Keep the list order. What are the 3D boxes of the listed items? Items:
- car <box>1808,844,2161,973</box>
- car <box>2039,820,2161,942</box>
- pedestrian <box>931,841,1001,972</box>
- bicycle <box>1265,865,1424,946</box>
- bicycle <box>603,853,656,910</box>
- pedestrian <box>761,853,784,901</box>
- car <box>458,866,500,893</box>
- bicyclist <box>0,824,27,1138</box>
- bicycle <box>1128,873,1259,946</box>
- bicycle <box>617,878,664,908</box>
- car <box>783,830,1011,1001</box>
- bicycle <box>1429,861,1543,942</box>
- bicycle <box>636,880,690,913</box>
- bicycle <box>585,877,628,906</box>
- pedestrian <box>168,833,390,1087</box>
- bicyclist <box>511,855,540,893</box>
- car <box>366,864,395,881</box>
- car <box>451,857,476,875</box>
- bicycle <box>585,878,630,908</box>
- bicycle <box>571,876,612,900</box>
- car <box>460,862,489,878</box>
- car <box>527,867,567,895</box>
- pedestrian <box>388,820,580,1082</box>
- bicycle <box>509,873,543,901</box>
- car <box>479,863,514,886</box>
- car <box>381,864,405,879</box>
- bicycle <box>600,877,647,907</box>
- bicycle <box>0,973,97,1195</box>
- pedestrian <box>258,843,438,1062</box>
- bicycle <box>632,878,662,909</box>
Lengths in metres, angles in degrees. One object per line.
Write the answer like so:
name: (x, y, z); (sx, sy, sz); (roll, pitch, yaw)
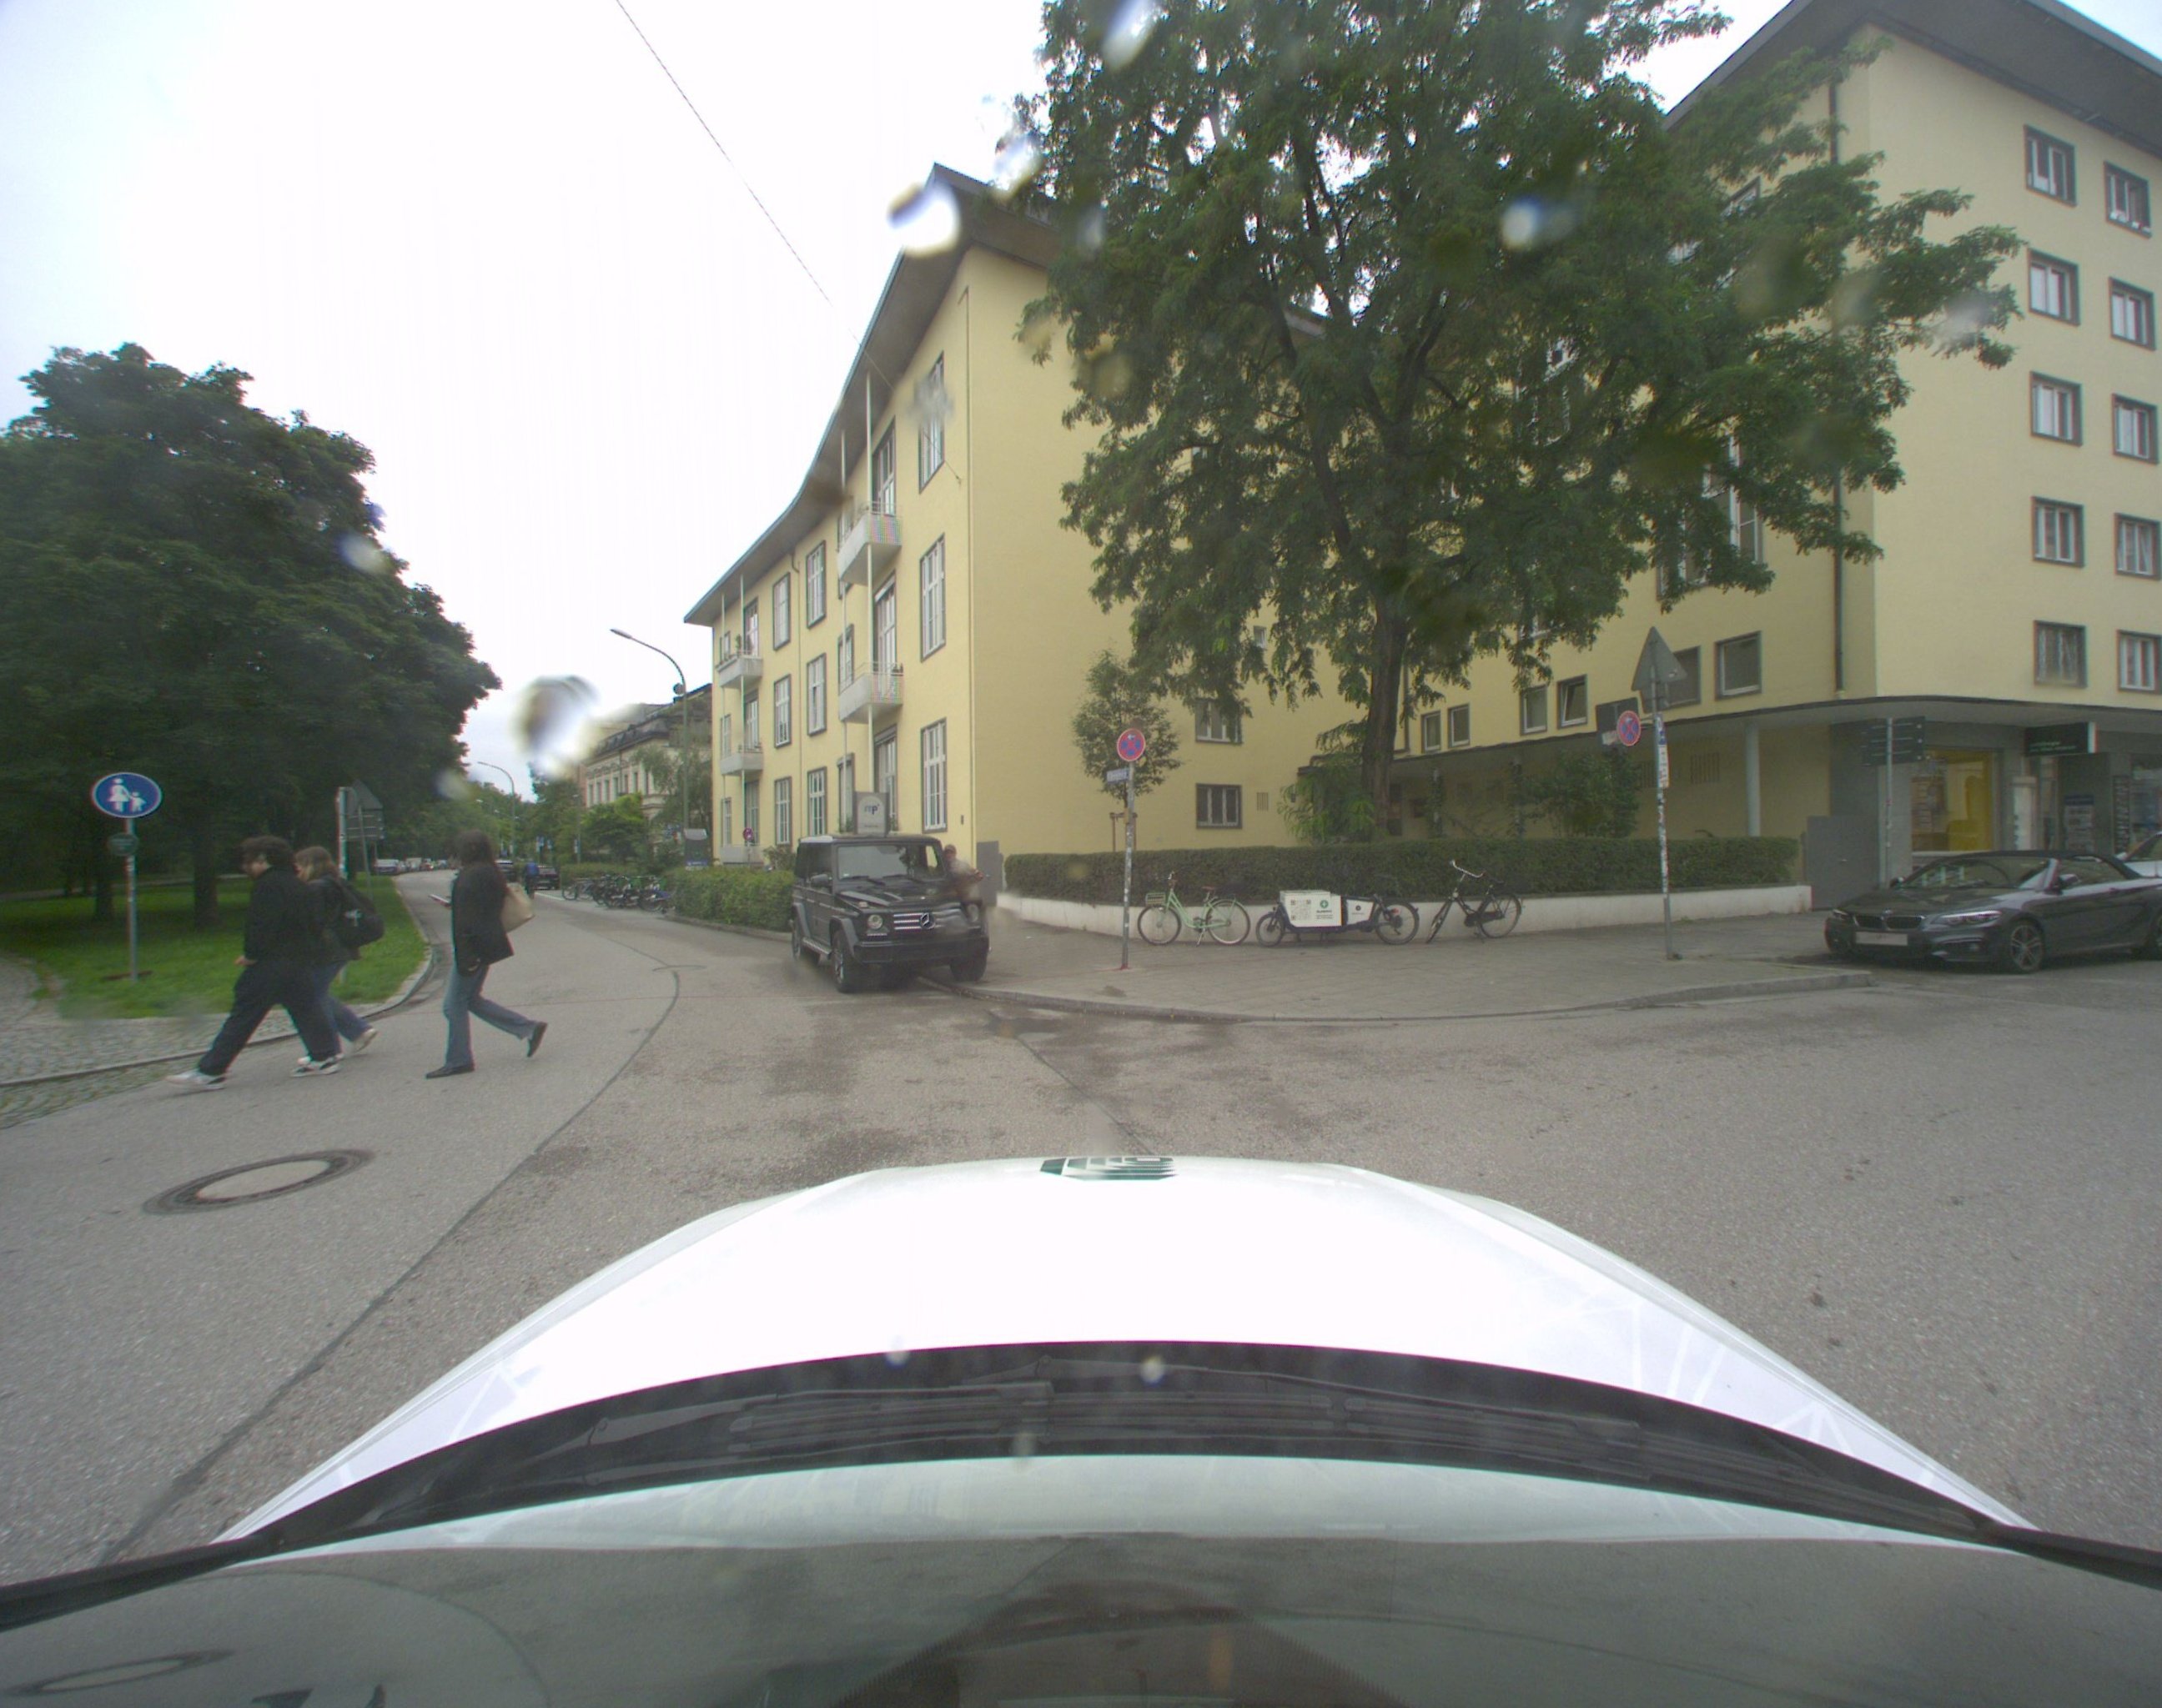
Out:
car: (11.882, 0.629, 10.448); (4.327, 1.367, 1.654); (-1, -3, -15)
car: (16.891, 0.282, 12.026); (4.316, 1.662, 1.848); (-3, -3, -16)
pedestrian: (-1.658, 0.711, 11.631); (0.850, 1.757, 0.949); (-2, 0, -15)
bicycle: (3.899, 0.747, 12.139); (2.160, 1.115, 0.640); (-1, 0, 0)
bicycle: (-16.584, 0.985, 29.952); (0.451, 2.013, 1.687); (-2, 0, 25)
pedestrian: (-11.299, 0.836, 29.837); (0.635, 1.684, 0.691); (-2, 0, -30)
car: (-34.102, 1.411, 46.089); (1.762, 1.406, 3.684); (-1, 0, -39)
bicyclist: (-6.162, 0.679, 3.974); (1.004, 1.656, 0.693); (-1, 0, -13)
bicycle: (1.754, 0.880, 12.796); (1.925, 1.084, 0.532); (-3, -2, 26)
bicycle: (-16.099, 1.419, 29.804); (0.362, 1.014, 1.547); (-2, 1, 29)
car: (-2.826, 0.691, 11.543); (1.885, 1.887, 4.574); (-1, 0, -30)
bicycle: (6.119, 0.689, 12.296); (1.686, 1.130, 0.457); (-1, 0, -18)
bicycle: (-14.100, 1.417, 27.483); (1.546, 1.014, 0.363); (-3, 1, -42)
bicycle: (-18.893, 1.486, 32.459); (0.404, 1.014, 1.546); (-2, 1, 21)
pedestrian: (-6.092, 0.764, 6.238); (0.987, 1.809, 0.659); (-1, 0, -4)
bicyclist: (-26.147, 0.929, 38.316); (0.922, 1.764, 1.200); (-1, 0, -44)
car: (-68.100, 1.774, 79.209); (2.010, 1.600, 4.414); (-1, 0, -40)
car: (-68.507, 1.312, 90.347); (2.082, 1.966, 4.921); (-1, 0, -37)
bicycle: (-17.947, 1.465, 30.902); (0.404, 1.014, 1.546); (-2, 1, 21)
bicycle: (-22.531, 1.573, 37.485); (0.404, 1.014, 1.548); (-2, 1, 33)
car: (-62.216, 1.623, 83.525); (2.011, 1.600, 4.203); (-1, 0, -41)
car: (-32.002, 1.563, 48.737); (1.660, 1.558, 3.518); (-1, 0, -39)
pedestrian: (-4.555, 0.698, 6.276); (0.848, 1.857, 0.766); (-2, 0, -4)
bicycle: (-26.121, 1.544, 38.300); (0.929, 1.252, 2.293); (-1, 0, -44)
car: (-45.332, 1.581, 63.163); (1.808, 1.680, 3.952); (-1, 0, -42)
car: (-77.957, 1.953, 92.321); (2.010, 1.600, 4.414); (-1, 0, -40)
bicycle: (-17.050, 1.420, 30.402); (0.404, 1.014, 1.546); (-2, 1, 24)
bicycle: (-6.322, 1.191, 3.934); (1.963, 1.024, 0.682); (-1, 0, -13)
pedestrian: (-6.193, 0.793, 6.926); (0.823, 1.746, 0.741); (-1, 0, 2)
bicycle: (-15.393, 1.382, 28.905); (0.366, 1.014, 1.534); (-2, 1, -8)
